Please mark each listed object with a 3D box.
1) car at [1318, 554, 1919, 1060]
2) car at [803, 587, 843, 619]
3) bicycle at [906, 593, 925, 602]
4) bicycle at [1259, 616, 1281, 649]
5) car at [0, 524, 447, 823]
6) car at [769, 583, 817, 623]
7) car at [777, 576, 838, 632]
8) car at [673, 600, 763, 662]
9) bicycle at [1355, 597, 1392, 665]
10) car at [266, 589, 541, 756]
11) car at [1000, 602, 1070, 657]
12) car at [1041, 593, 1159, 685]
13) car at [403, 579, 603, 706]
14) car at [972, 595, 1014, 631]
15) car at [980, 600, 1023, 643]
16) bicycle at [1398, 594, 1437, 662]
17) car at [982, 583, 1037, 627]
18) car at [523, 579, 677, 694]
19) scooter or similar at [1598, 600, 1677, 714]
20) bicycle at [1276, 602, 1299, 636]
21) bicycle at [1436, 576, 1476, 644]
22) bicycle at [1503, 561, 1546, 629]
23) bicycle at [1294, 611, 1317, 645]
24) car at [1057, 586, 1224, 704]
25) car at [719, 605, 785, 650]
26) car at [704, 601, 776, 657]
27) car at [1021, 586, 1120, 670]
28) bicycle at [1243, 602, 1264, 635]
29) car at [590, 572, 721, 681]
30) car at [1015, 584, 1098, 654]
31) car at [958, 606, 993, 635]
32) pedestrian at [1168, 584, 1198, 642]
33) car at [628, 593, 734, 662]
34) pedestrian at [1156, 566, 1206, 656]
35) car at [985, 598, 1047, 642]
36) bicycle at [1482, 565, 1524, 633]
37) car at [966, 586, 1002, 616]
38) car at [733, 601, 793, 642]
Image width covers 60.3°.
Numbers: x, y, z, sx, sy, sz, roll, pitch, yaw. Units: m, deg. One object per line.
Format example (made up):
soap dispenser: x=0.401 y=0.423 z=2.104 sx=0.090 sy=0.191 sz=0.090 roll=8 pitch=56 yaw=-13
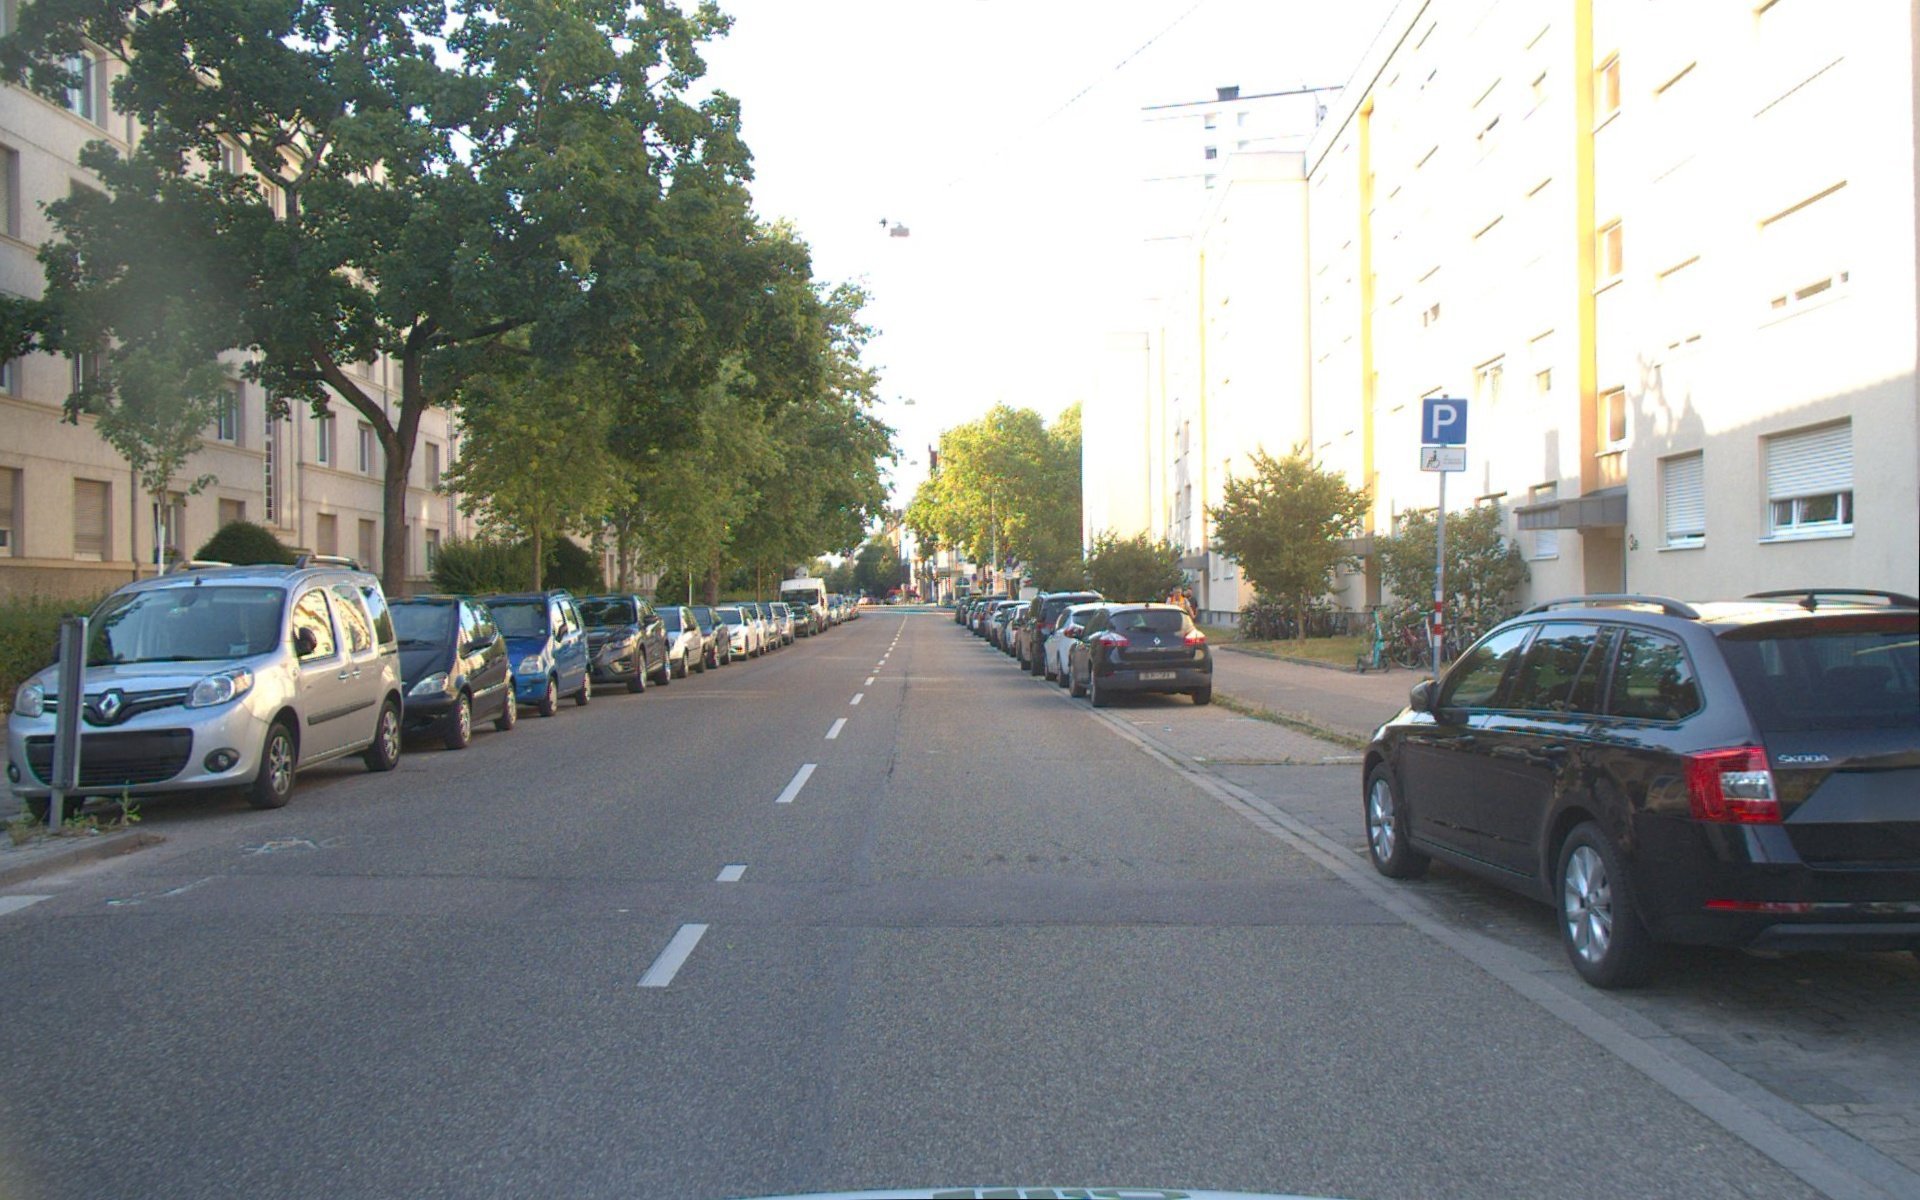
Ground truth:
car: x=3.292 y=0.660 z=7.794 sx=1.848 sy=1.589 sz=4.943 roll=-2 pitch=-1 yaw=-3
car: x=-7.654 y=0.132 z=92.926 sx=1.833 sy=1.585 sz=5.055 roll=-5 pitch=1 yaw=-2
bicycle: x=-6.506 y=-0.302 z=242.304 sx=2.750 sy=1.225 sz=0.509 roll=1 pitch=-1 yaw=-8
bicycle: x=9.154 y=0.950 z=48.888 sx=0.428 sy=0.958 sz=1.792 roll=1 pitch=-1 yaw=4
car: x=-5.713 y=0.519 z=13.217 sx=1.804 sy=1.929 sz=4.486 roll=-2 pitch=-1 yaw=0
car: x=-6.992 y=0.158 z=69.441 sx=1.672 sy=1.601 sz=3.818 roll=1 pitch=-1 yaw=-1
car: x=-7.052 y=0.215 z=77.099 sx=2.310 sy=2.488 sz=6.163 roll=1 pitch=-1 yaw=-1
car: x=-6.512 y=0.827 z=44.948 sx=1.964 sy=1.579 sz=4.468 roll=1 pitch=-1 yaw=-3
bicycle: x=7.651 y=0.572 z=30.643 sx=0.326 sy=1.213 sz=1.240 roll=1 pitch=-1 yaw=-1
car: x=-5.974 y=0.735 z=18.272 sx=1.836 sy=1.579 sz=3.997 roll=-2 pitch=-1 yaw=-3
car: x=2.148 y=0.850 z=48.378 sx=1.736 sy=1.479 sz=3.999 roll=-3 pitch=-1 yaw=-1
car: x=2.575 y=0.718 z=31.316 sx=1.736 sy=1.534 sz=3.999 roll=-3 pitch=-1 yaw=-1
car: x=-6.289 y=0.569 z=23.215 sx=1.836 sy=1.579 sz=3.997 roll=1 pitch=-1 yaw=-3
car: x=1.472 y=0.609 z=75.414 sx=1.799 sy=1.528 sz=4.171 roll=1 pitch=-1 yaw=0
car: x=1.757 y=0.912 z=70.817 sx=1.799 sy=1.803 sz=3.978 roll=0 pitch=-1 yaw=1
bicycle: x=8.367 y=0.510 z=30.248 sx=0.326 sy=1.213 sz=1.240 roll=1 pitch=-1 yaw=-1
car: x=1.934 y=0.222 z=65.891 sx=1.922 sy=1.633 sz=4.278 roll=-3 pitch=-1 yaw=-1
car: x=-6.044 y=0.600 z=28.272 sx=1.836 sy=1.790 sz=4.686 roll=-1 pitch=-1 yaw=-3
scooter or similar: x=7.496 y=0.620 z=18.327 sx=0.326 sy=1.213 sz=1.240 roll=1 pitch=-1 yaw=-1
bicycle: x=9.670 y=0.569 z=48.866 sx=0.428 sy=0.958 sz=1.792 roll=1 pitch=-1 yaw=4
bicycle: x=9.144 y=0.187 z=30.533 sx=0.326 sy=1.213 sz=1.240 roll=1 pitch=-1 yaw=-1
bicycle: x=10.336 y=-0.089 z=30.296 sx=0.326 sy=1.213 sz=1.240 roll=1 pitch=-1 yaw=-1
bicycle: x=10.203 y=0.820 z=48.843 sx=0.428 sy=0.958 sz=1.792 roll=1 pitch=-1 yaw=4
car: x=2.696 y=0.671 z=25.725 sx=1.763 sy=1.533 sz=4.618 roll=-4 pitch=-1 yaw=-3
car: x=-6.777 y=0.884 z=54.269 sx=1.836 sy=1.379 sz=3.997 roll=1 pitch=-1 yaw=-3
car: x=-6.663 y=0.869 z=50.393 sx=1.836 sy=1.579 sz=3.997 roll=1 pitch=-1 yaw=-3
car: x=2.379 y=0.609 z=36.624 sx=1.736 sy=1.707 sz=4.645 roll=-1 pitch=-1 yaw=-1
bicycle: x=8.674 y=0.546 z=48.924 sx=0.428 sy=0.958 sz=1.792 roll=1 pitch=-1 yaw=4
car: x=-6.222 y=0.540 z=34.220 sx=1.953 sy=2.049 sz=3.999 roll=-3 pitch=-1 yaw=-1
car: x=2.403 y=0.494 z=41.946 sx=1.736 sy=1.645 sz=3.999 roll=1 pitch=-1 yaw=-1
car: x=0.799 y=1.083 z=86.309 sx=1.645 sy=1.440 sz=4.722 roll=1 pitch=-1 yaw=-2
pedestrian: x=6.634 y=0.390 z=49.260 sx=0.750 sy=1.687 sz=0.536 roll=-2 pitch=-1 yaw=-2
car: x=-6.361 y=0.619 z=38.143 sx=1.836 sy=1.459 sz=4.800 roll=1 pitch=-1 yaw=-3
pedestrian: x=4.853 y=0.243 z=36.454 sx=0.870 sy=1.924 sz=1.279 roll=1 pitch=-1 yaw=-1
car: x=1.950 y=0.727 z=58.781 sx=1.836 sy=1.468 sz=3.997 roll=1 pitch=-1 yaw=-3
bicycle: x=9.931 y=-0.012 z=30.270 sx=0.326 sy=1.213 sz=1.240 roll=1 pitch=-1 yaw=-1
car: x=1.402 y=0.050 z=97.246 sx=1.859 sy=1.680 sz=4.341 roll=1 pitch=0 yaw=-2
car: x=-7.084 y=0.778 z=59.869 sx=1.836 sy=1.379 sz=4.650 roll=1 pitch=-1 yaw=-3
